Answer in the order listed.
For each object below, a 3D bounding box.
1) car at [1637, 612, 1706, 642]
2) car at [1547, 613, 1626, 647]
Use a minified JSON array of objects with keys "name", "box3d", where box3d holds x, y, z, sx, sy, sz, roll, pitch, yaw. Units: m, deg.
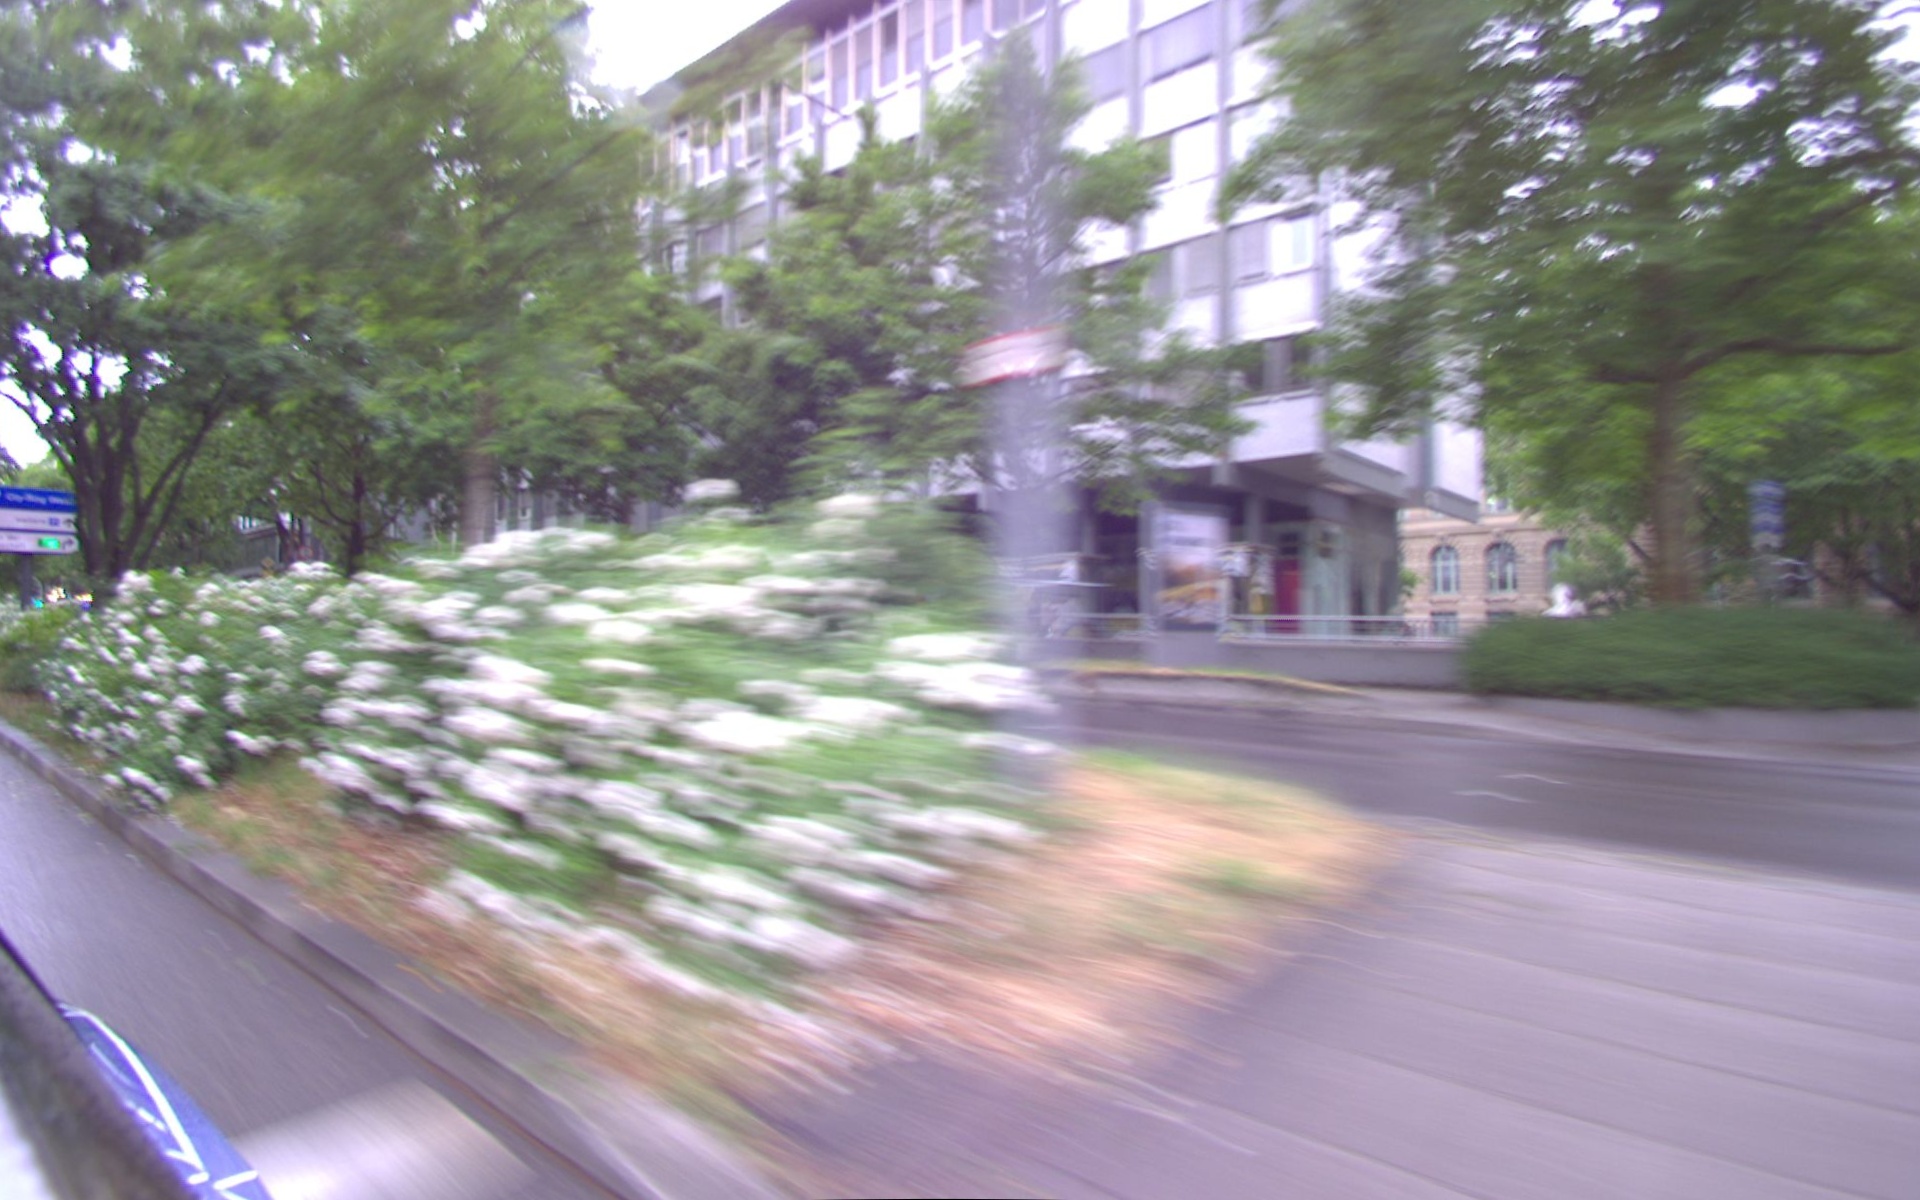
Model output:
[{"name":"car","box3d":[39.067,1.468,55.567,3.915,1.564,1.749,0,-1,-33]},{"name":"car","box3d":[30.827,1.432,49.776,3.915,1.564,1.749,0,-1,-33]}]
